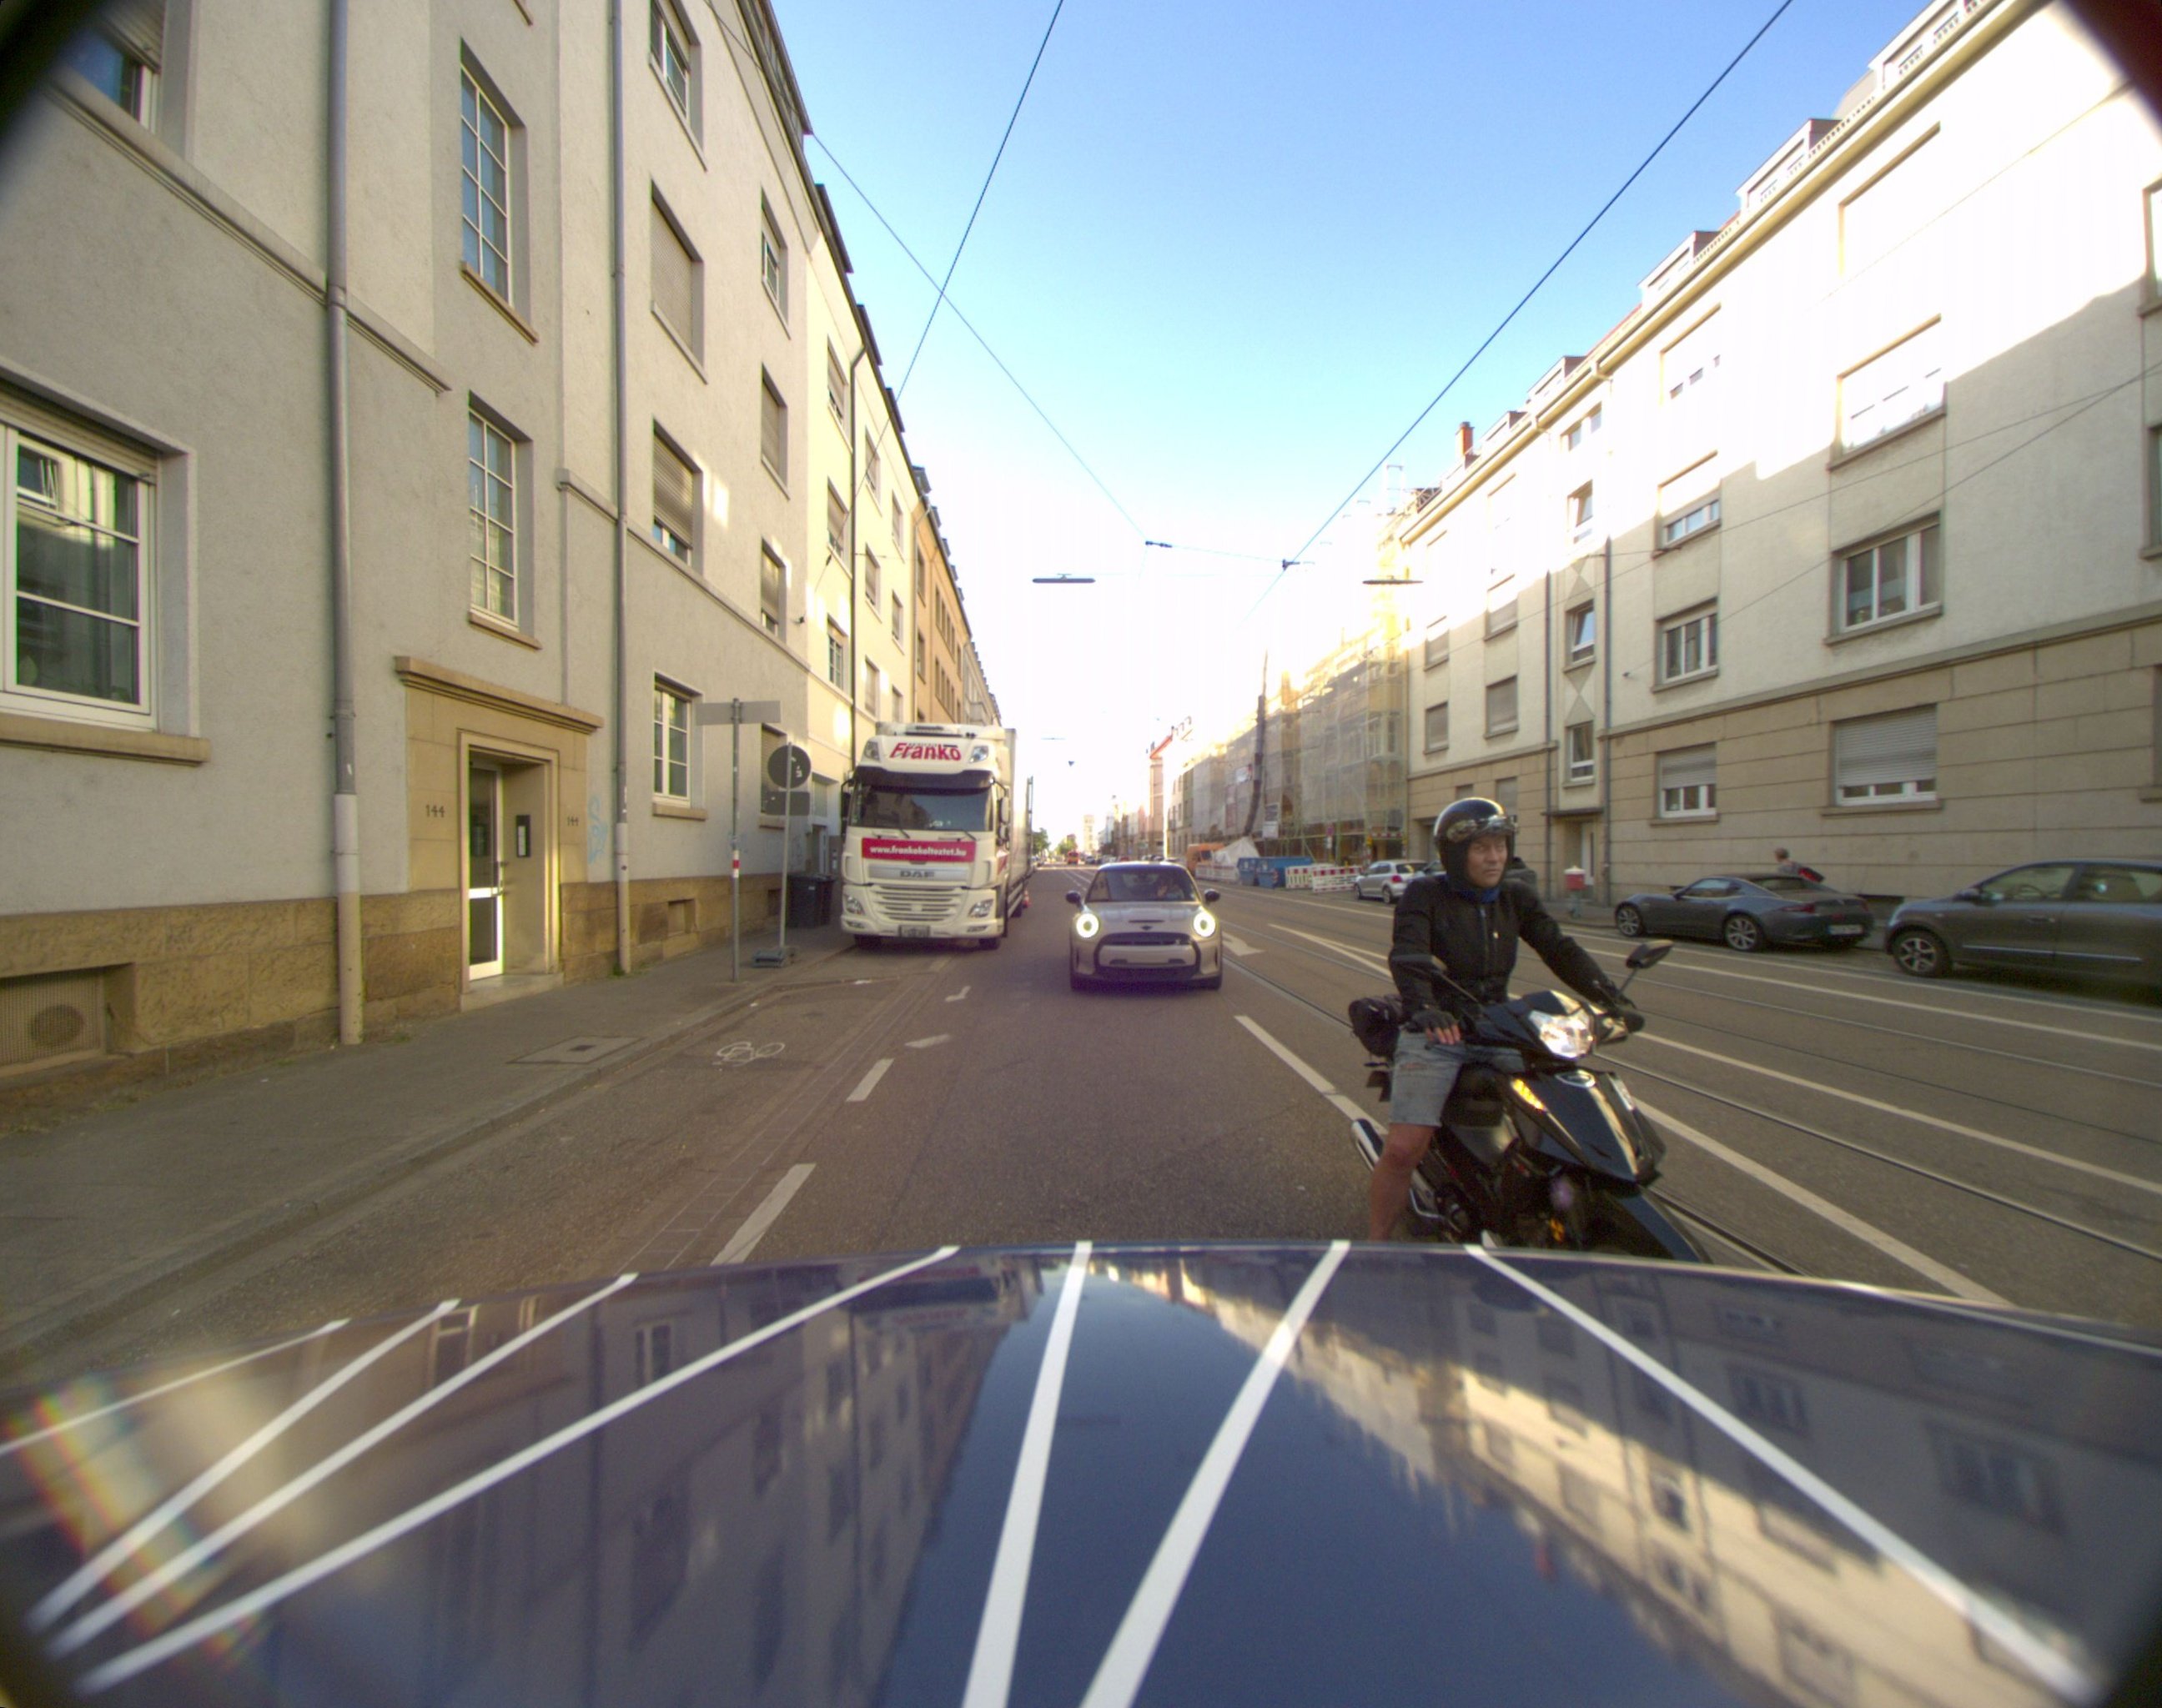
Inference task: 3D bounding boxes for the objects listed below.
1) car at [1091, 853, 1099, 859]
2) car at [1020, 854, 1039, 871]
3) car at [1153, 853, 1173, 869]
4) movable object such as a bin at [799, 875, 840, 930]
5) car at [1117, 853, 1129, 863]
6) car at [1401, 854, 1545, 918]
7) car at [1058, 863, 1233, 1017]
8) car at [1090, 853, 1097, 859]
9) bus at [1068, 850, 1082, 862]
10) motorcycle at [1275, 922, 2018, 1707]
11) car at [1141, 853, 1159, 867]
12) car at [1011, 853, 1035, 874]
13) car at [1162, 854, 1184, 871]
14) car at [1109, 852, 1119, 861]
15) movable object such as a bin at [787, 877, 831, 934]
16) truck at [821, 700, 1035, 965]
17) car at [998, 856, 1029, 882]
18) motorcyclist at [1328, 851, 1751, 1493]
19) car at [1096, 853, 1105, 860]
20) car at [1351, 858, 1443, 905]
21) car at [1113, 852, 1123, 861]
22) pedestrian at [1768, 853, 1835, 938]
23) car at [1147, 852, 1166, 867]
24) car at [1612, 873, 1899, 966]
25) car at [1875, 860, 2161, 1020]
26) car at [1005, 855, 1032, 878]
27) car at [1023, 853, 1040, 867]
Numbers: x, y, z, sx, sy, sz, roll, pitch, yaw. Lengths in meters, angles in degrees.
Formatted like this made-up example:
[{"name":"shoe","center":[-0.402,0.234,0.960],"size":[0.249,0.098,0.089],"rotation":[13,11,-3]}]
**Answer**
[{"name":"car","center":[3.547,0.603,191.746],"size":[1.684,1.478,3.965],"rotation":[-2,0,-1]},{"name":"car","center":[-4.849,0.745,72.098],"size":[1.685,1.522,4.148],"rotation":[-2,0,-3]},{"name":"car","center":[8.274,0.703,76.809],"size":[1.684,1.478,3.966],"rotation":[-2,0,1]},{"name":"movable object such as a bin","center":[-5.395,0.996,15.709],"size":[0.666,1.087,0.570],"rotation":[0,1,-2]},{"name":"car","center":[6.607,0.620,118.635],"size":[1.684,1.478,3.966],"rotation":[-2,0,1]},{"name":"car","center":[10.816,0.805,21.330],"size":[1.696,1.590,4.206],"rotation":[-1,0,-3]},{"name":"car","center":[0.593,0.892,9.744],"size":[1.685,1.454,4.148],"rotation":[-2,0,-3]},{"name":"car","center":[3.322,0.583,206.889],"size":[1.684,1.478,3.965],"rotation":[-2,0,-1]},{"name":"bus","center":[-1.686,0.453,201.203],"size":[2.755,3.095,19.156],"rotation":[0,0,-3]},{"name":"motorcycle","center":[1.314,0.972,2.519],"size":[0.791,1.284,2.273],"rotation":[0,0,1]},{"name":"car","center":[7.941,0.651,87.879],"size":[1.684,1.478,3.966],"rotation":[-2,0,1]},{"name":"car","center":[-4.504,0.743,59.158],"size":[1.685,1.522,4.148],"rotation":[-2,0,-3]},{"name":"car","center":[8.579,0.758,71.112],"size":[1.684,1.478,3.966],"rotation":[-2,0,1]},{"name":"car","center":[5.967,0.440,139.343],"size":[1.684,1.478,3.966],"rotation":[-2,0,1]},{"name":"movable object such as a bin","center":[-5.378,1.005,15.040],"size":[0.666,1.087,0.570],"rotation":[0,1,-2]},{"name":"truck","center":[-2.621,-0.323,17.180],"size":[2.782,3.903,11.816],"rotation":[0,0,-2]},{"name":"car","center":[-4.170,0.894,47.187],"size":[1.685,1.522,4.148],"rotation":[-2,0,-3]},{"name":"motorcyclist","center":[1.313,0.815,2.390],"size":[0.791,1.645,0.900],"rotation":[0,1,1]},{"name":"car","center":[4.269,0.612,167.811],"size":[1.684,1.478,3.965],"rotation":[-2,0,-1]},{"name":"car","center":[10.615,0.880,25.778],"size":[1.543,1.404,3.510],"rotation":[-1,0,-3]},{"name":"car","center":[6.540,0.461,134.401],"size":[1.684,1.478,3.966],"rotation":[-2,0,1]},{"name":"pedestrian","center":[13.308,0.752,14.052],"size":[0.570,1.532,0.693],"rotation":[0,1,-2]},{"name":"car","center":[8.252,0.614,83.183],"size":[1.684,1.573,3.966],"rotation":[-2,0,1]},{"name":"car","center":[11.185,1.000,12.981],"size":[1.520,1.227,3.685],"rotation":[-1,0,-3]},{"name":"car","center":[11.422,0.860,8.319],"size":[1.679,1.519,3.539],"rotation":[-1,0,-3]},{"name":"car","center":[-4.296,0.826,52.990],"size":[1.685,1.522,4.148],"rotation":[-2,0,-3]},{"name":"car","center":[-5.343,0.645,82.744],"size":[1.685,1.522,4.148],"rotation":[-2,0,-3]}]
